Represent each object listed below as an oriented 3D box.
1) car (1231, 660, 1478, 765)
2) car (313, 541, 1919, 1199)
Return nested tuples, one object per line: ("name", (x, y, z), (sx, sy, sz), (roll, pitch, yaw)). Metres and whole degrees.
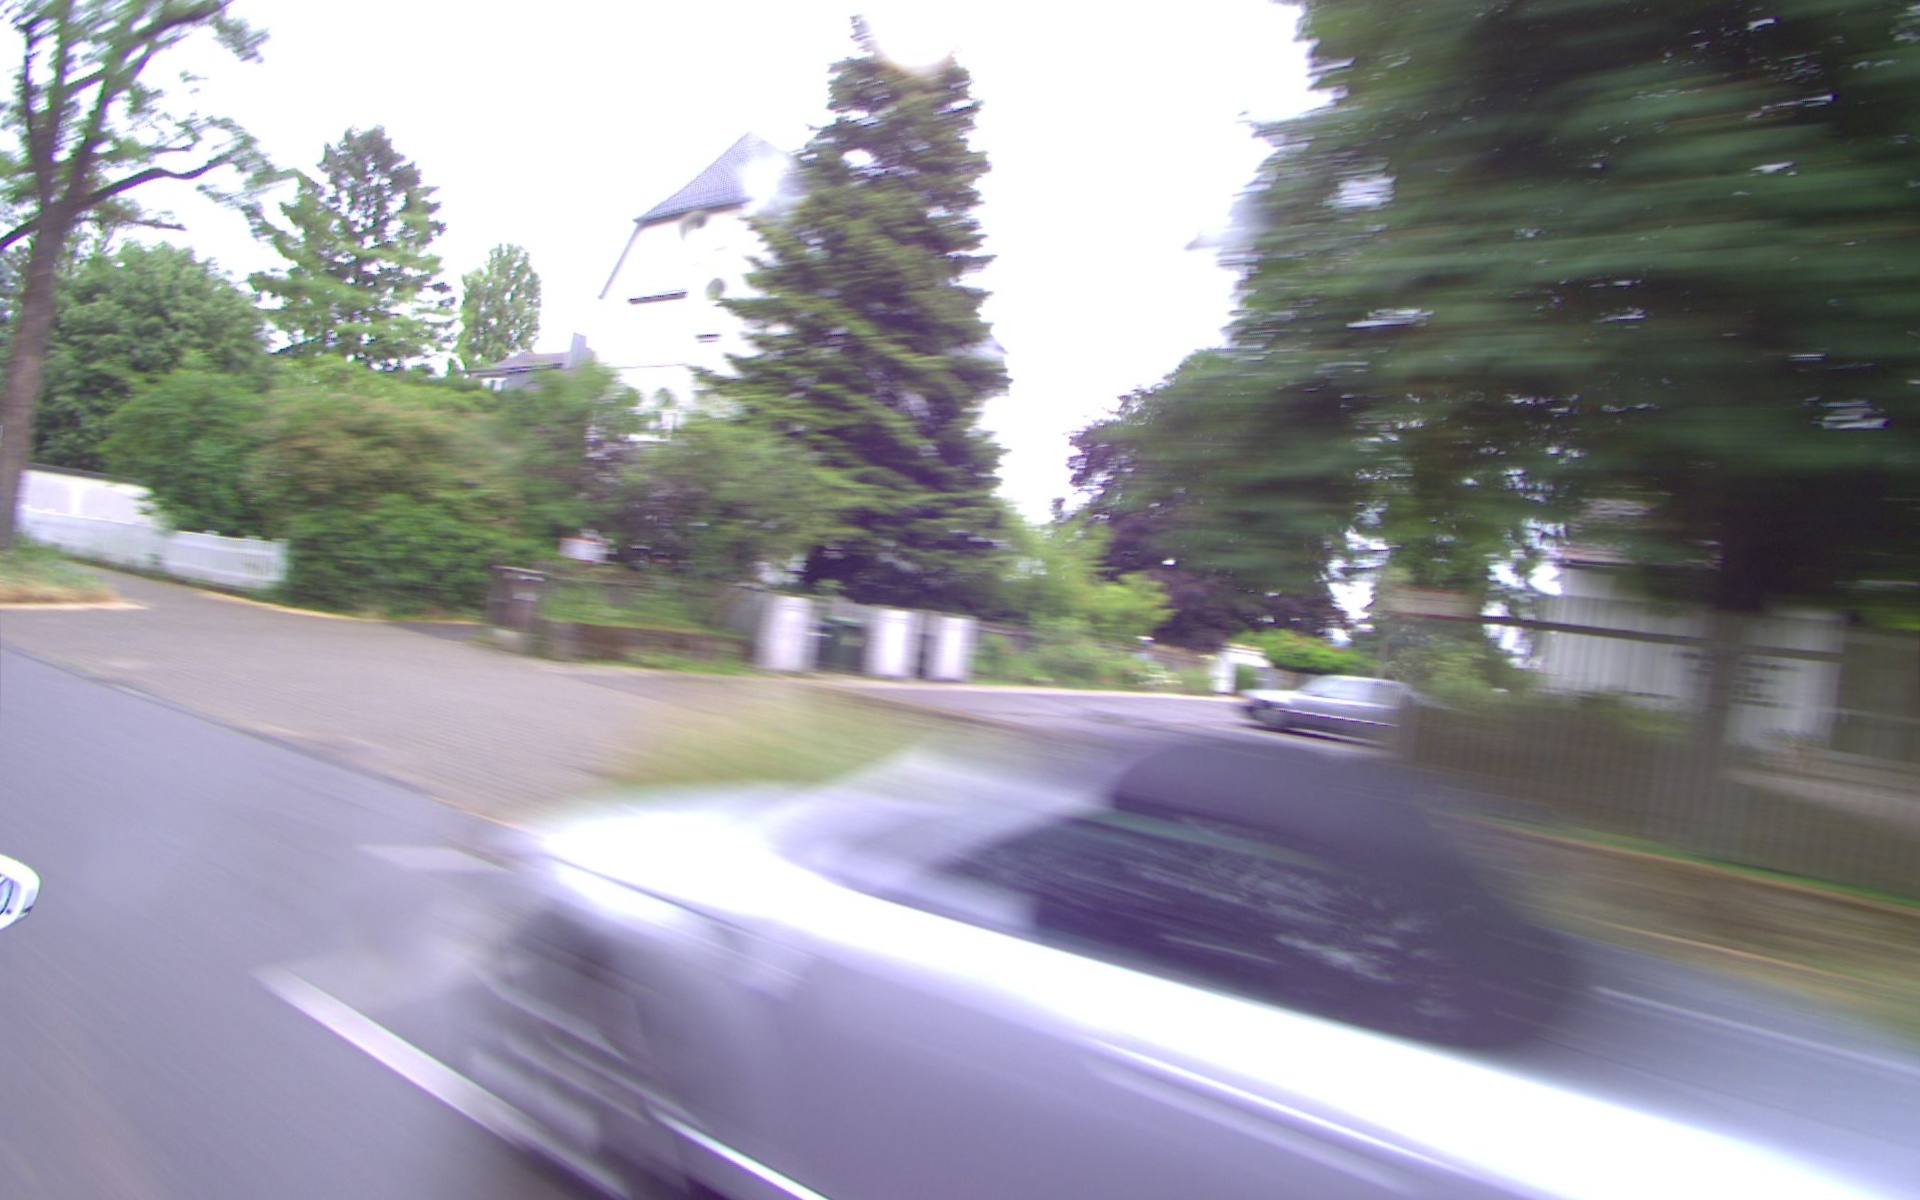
("car", (8.178, 2.313, 21.055), (4.454, 1.391, 1.617), (7, -2, 35))
("car", (0.339, 0.844, 2.698), (3.932, 1.411, 1.786), (8, -2, 30))
